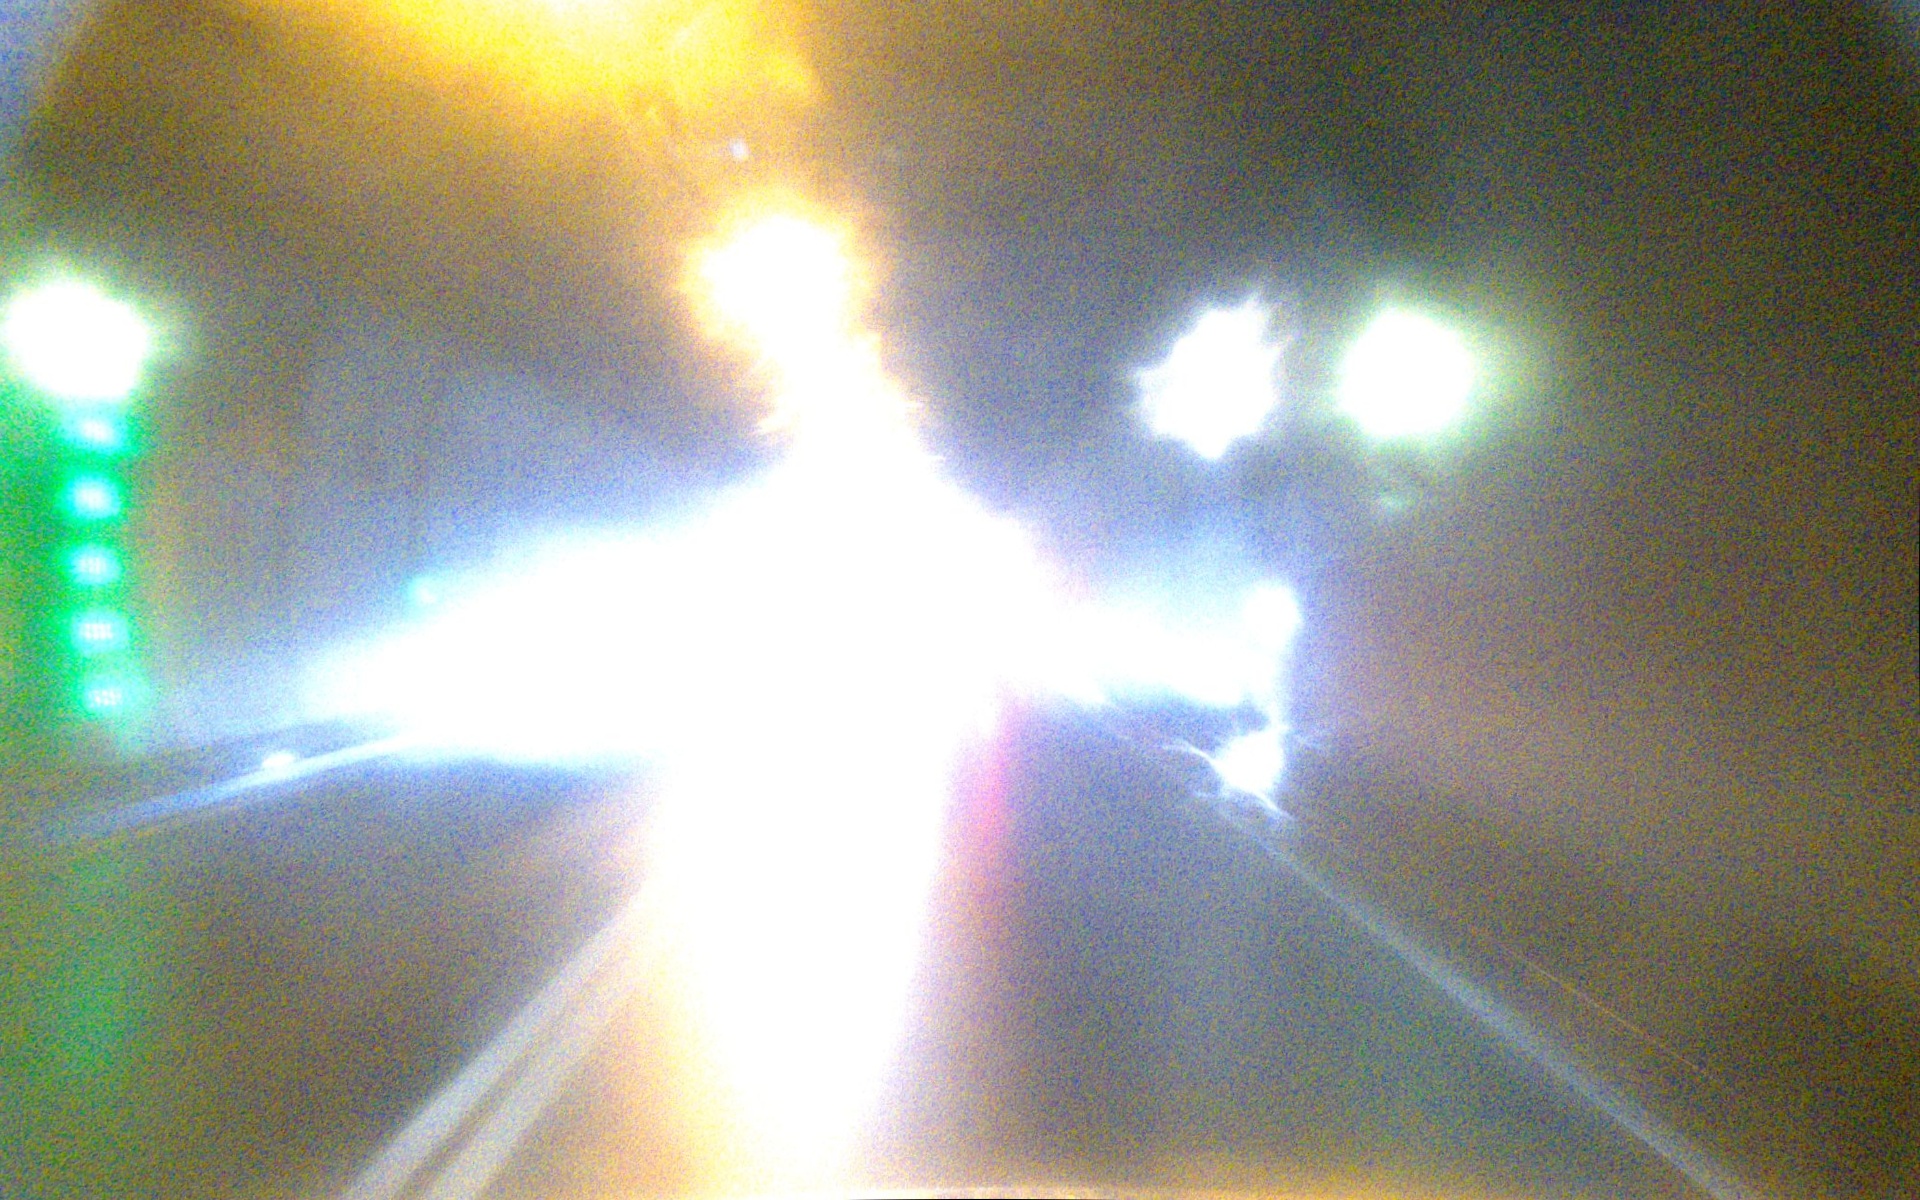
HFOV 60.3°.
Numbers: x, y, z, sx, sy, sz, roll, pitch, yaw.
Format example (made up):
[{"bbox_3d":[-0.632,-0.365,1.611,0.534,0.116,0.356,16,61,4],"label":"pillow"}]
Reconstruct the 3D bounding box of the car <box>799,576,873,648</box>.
[{"bbox_3d":[-3.969,0.331,52.634,2.169,2.048,3.996,-3,2,-5],"label":"car"}]

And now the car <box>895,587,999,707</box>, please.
[{"bbox_3d":[-0.191,0.750,29.020,1.602,1.788,4.146,-3,2,1],"label":"car"}]
